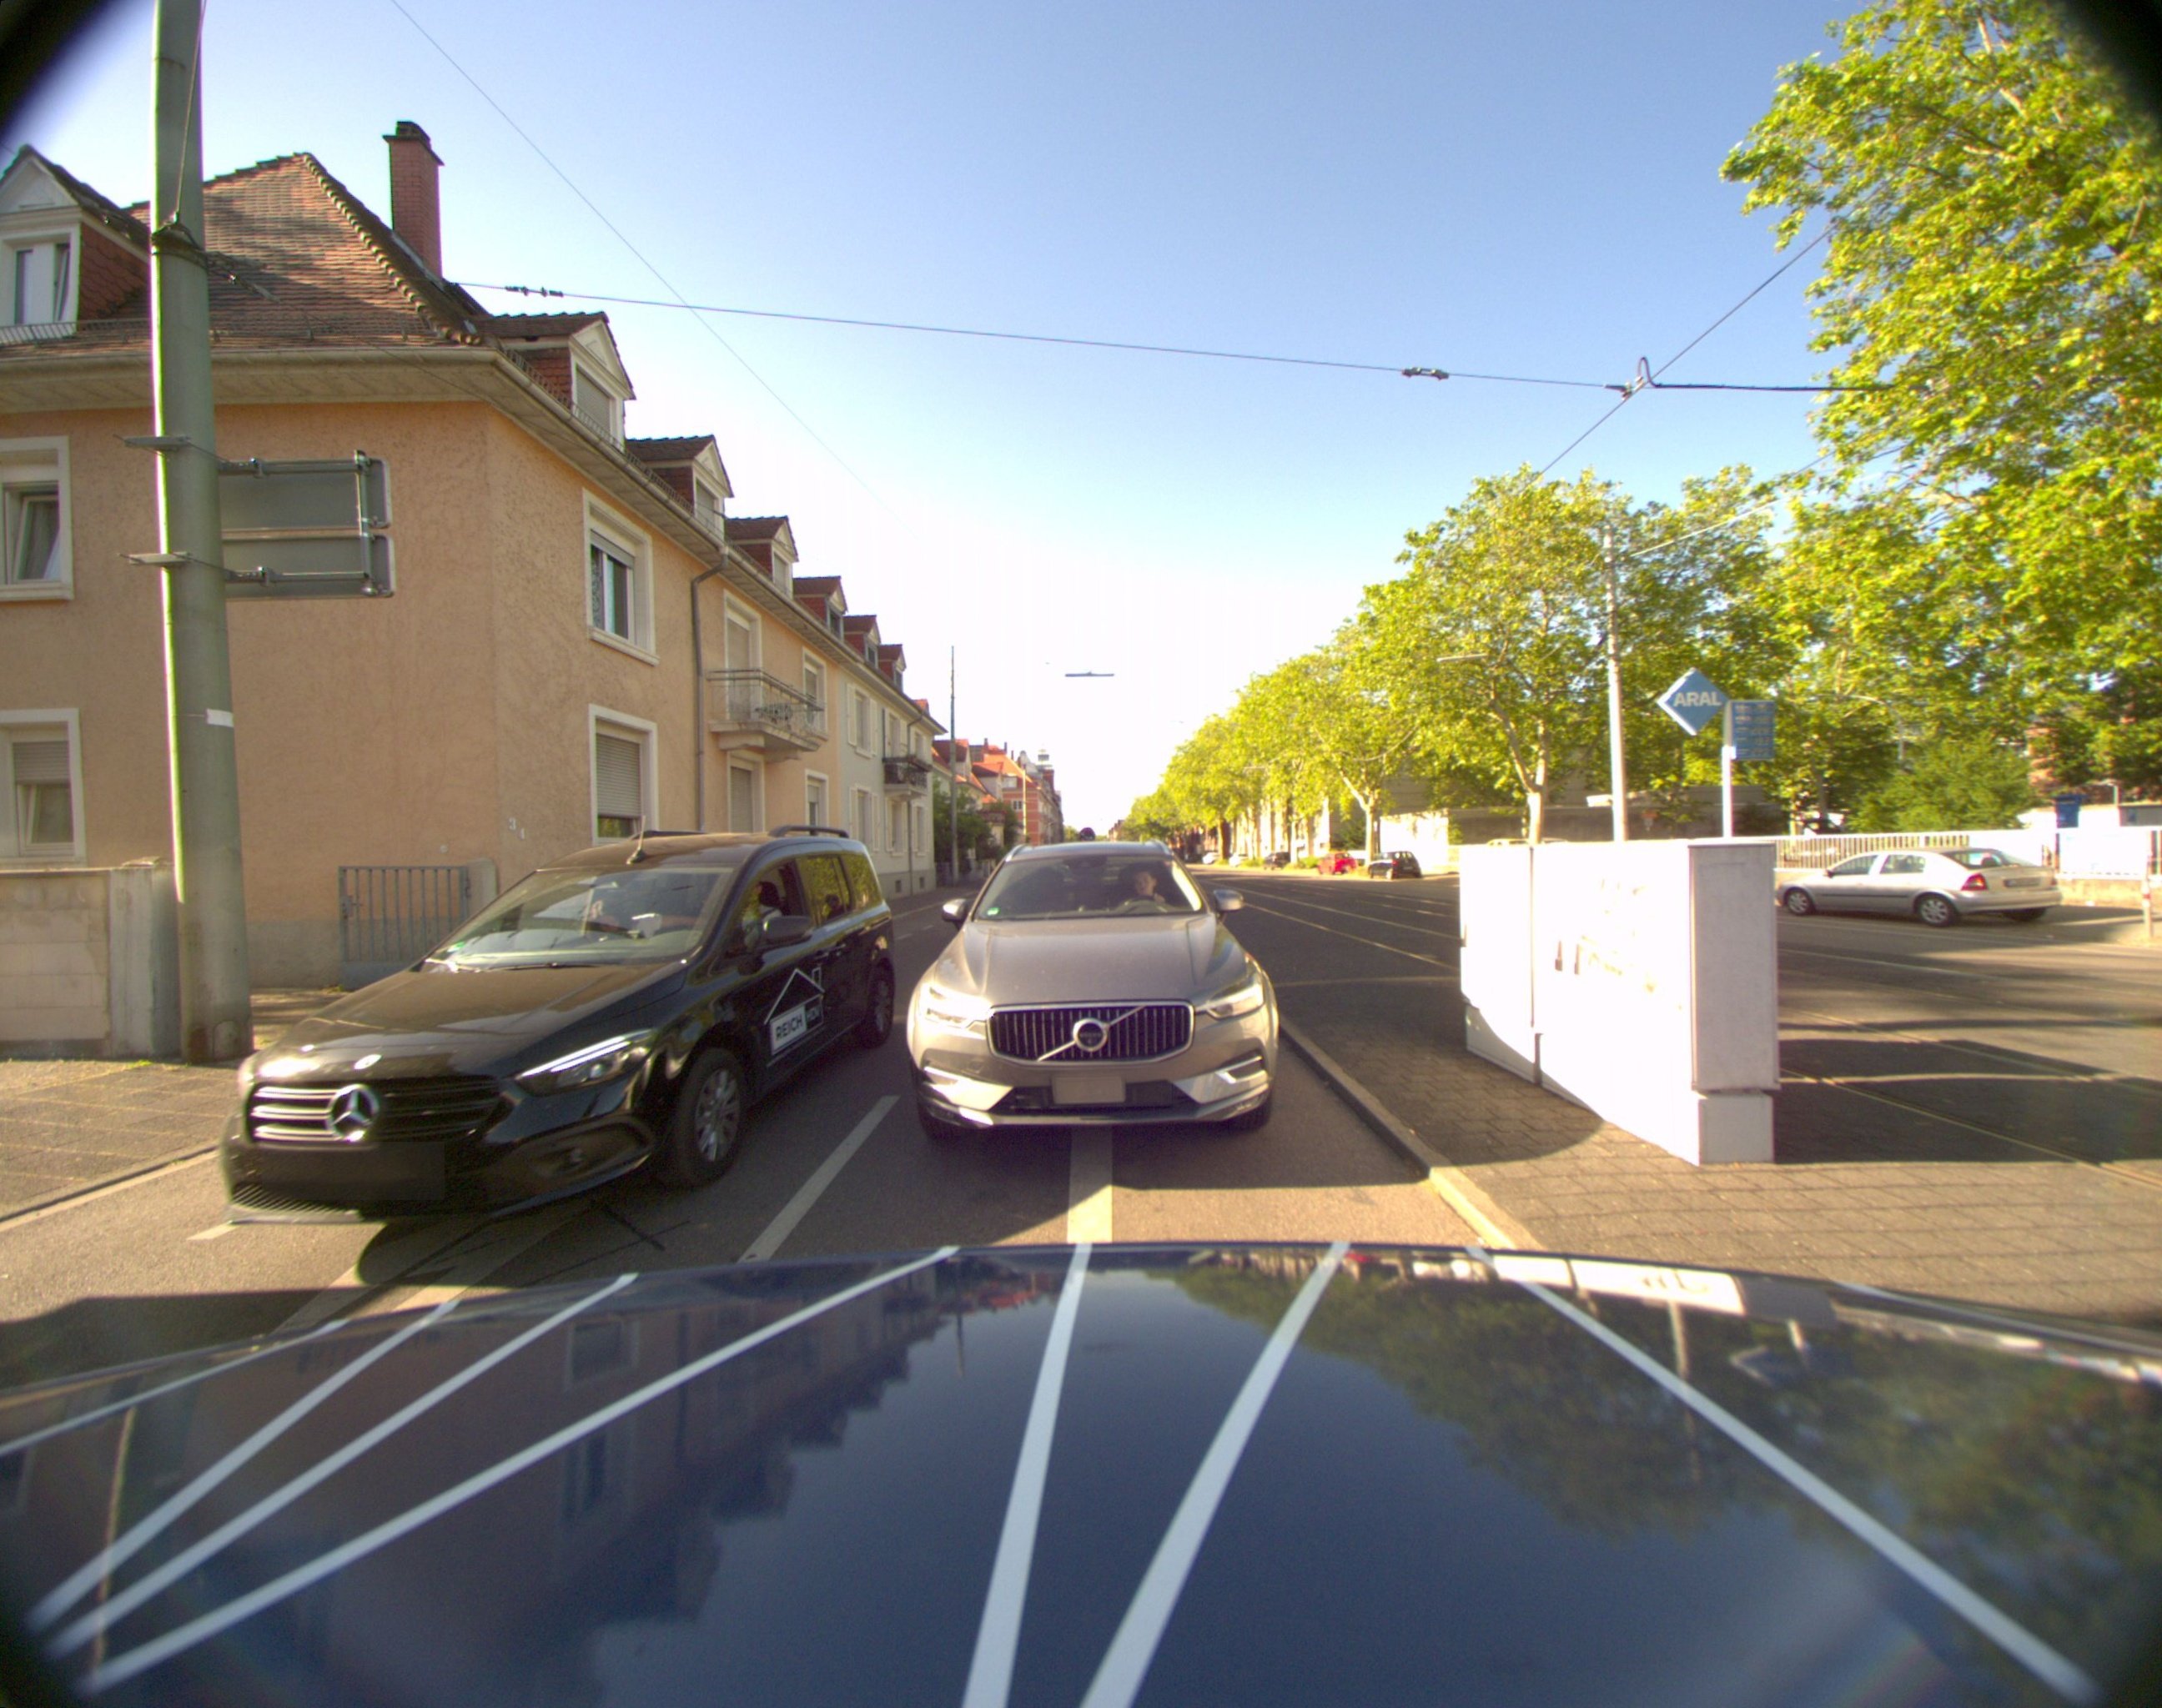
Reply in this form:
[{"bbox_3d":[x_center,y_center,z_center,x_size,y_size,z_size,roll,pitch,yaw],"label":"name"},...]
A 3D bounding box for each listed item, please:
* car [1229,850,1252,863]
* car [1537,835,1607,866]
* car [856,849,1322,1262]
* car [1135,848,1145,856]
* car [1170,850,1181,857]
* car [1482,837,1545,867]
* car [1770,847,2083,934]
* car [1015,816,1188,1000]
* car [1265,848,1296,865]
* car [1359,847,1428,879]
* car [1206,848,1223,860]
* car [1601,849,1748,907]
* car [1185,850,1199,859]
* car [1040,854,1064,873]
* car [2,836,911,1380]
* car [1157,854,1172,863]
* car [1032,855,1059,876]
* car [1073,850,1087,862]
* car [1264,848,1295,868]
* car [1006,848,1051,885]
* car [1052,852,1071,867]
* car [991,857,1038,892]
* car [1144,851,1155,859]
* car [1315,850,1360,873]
[{"bbox_3d":[17.527,0.254,83.523,1.699,1.401,3.999,-1,1,1],"label":"car"},{"bbox_3d":[24.282,-0.175,37.677,1.545,1.412,3.151,-2,1,4],"label":"car"},{"bbox_3d":[0.042,0.842,5.605,1.912,1.666,4.763,-2,1,0],"label":"car"},{"bbox_3d":[14.579,-0.505,187.441,1.850,1.835,4.394,-1,1,-1],"label":"car"},{"bbox_3d":[18.605,-0.067,149.567,1.699,1.401,3.999,-1,1,1],"label":"car"},{"bbox_3d":[21.724,-0.112,38.298,1.545,1.412,3.151,-2,1,4],"label":"car"},{"bbox_3d":[16.275,0.606,14.995,1.731,1.412,3.999,-2,1,1],"label":"car"},{"bbox_3d":[0.243,0.599,11.125,1.912,2.048,4.763,-2,1,0],"label":"car"},{"bbox_3d":[17.295,0.230,65.915,1.699,1.401,3.999,-1,1,1],"label":"car"},{"bbox_3d":[16.928,0.440,41.422,1.753,1.514,4.434,-5,1,-1],"label":"car"},{"bbox_3d":[17.676,0.013,100.785,1.699,1.548,3.999,-1,1,1],"label":"car"},{"bbox_3d":[16.408,0.607,21.202,1.546,1.412,3.254,-2,1,1],"label":"car"},{"bbox_3d":[18.346,0.029,125.562,1.699,1.401,3.999,-1,1,1],"label":"car"},{"bbox_3d":[-2.521,0.809,67.001,1.841,1.449,3.999,-2,1,1],"label":"car"},{"bbox_3d":[-2.650,0.845,4.970,1.866,1.794,4.778,-2,1,1],"label":"car"},{"bbox_3d":[13.942,0.741,126.898,1.912,1.514,4.763,0,1,0],"label":"car"},{"bbox_3d":[-2.818,0.892,60.592,1.841,1.449,3.999,-2,1,1],"label":"car"},{"bbox_3d":[-0.146,0.279,106.491,1.841,1.449,3.999,-2,1,1],"label":"car"},{"bbox_3d":[17.177,0.323,65.996,1.699,1.566,3.999,-1,1,1],"label":"car"},{"bbox_3d":[-2.910,0.638,43.805,1.937,1.888,7.210,-2,1,1],"label":"car"},{"bbox_3d":[-2.171,0.591,85.439,1.841,1.449,3.999,-2,1,1],"label":"car"},{"bbox_3d":[-3.175,0.956,36.953,1.841,1.449,3.999,-2,1,1],"label":"car"},{"bbox_3d":[13.613,0.179,151.835,1.700,1.412,3.999,12,1,1],"label":"car"},{"bbox_3d":[17.010,0.465,50.490,1.699,1.460,3.999,-1,1,1],"label":"car"}]
